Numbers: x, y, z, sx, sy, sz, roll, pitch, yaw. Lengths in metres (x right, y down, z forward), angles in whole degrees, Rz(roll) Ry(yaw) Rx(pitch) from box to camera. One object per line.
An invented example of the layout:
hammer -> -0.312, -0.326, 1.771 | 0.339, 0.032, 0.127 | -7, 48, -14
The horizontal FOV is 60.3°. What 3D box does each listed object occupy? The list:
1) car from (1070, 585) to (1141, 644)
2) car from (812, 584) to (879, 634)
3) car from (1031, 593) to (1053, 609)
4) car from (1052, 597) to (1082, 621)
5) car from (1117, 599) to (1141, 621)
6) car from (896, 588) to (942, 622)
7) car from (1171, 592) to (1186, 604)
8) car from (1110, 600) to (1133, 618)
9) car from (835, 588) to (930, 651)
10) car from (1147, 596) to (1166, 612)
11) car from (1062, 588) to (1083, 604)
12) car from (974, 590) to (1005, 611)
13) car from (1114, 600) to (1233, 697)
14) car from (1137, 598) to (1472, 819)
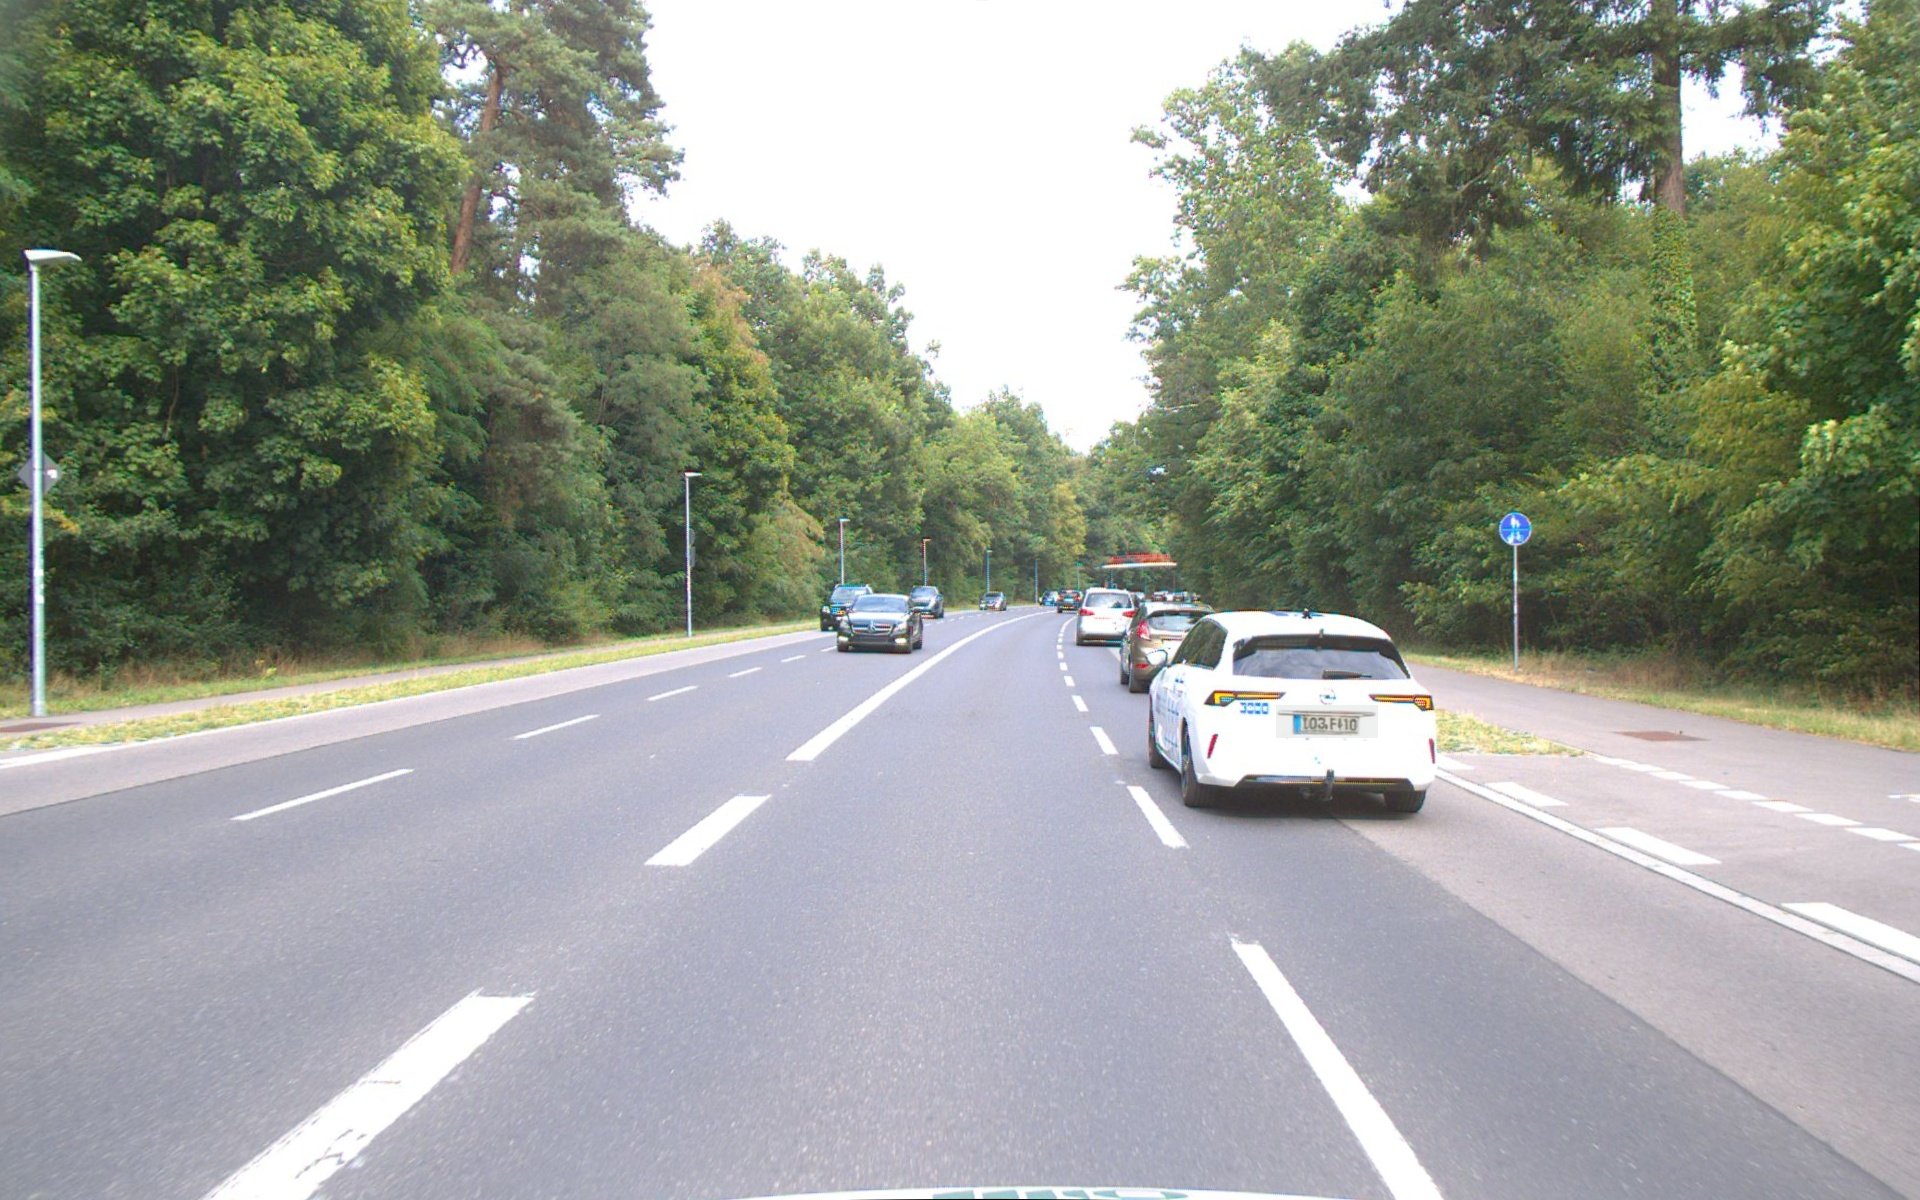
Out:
car -> 4.410, 0.457, 50.570 | 1.952, 1.635, 4.001 | 2, -1, 3
car -> -4.096, 0.352, 59.790 | 1.883, 1.684, 4.470 | 1, -1, 3
car -> 8.360, 0.079, 169.042 | 1.841, 1.468, 4.406 | 2, -1, 8
car -> 7.782, 0.635, 120.031 | 1.693, 1.615, 4.003 | 2, -1, 10
car -> 15.572, 0.929, 152.337 | 1.951, 1.814, 4.003 | 2, -1, 9
car -> -2.157, 0.293, 87.983 | 1.952, 1.645, 4.665 | 2, -1, 4
car -> 30.761, -0.263, 232.728 | 1.951, 1.736, 4.003 | 0, 0, 10
car -> 17.364, 0.957, 178.202 | 1.951, 1.814, 4.003 | 2, -1, 12
car -> -1.907, 0.505, 42.004 | 1.952, 1.460, 4.722 | 1, -1, 3
car -> 23.977, 0.446, 202.118 | 1.951, 1.814, 4.003 | 2, -1, 11
car -> 12.901, -0.433, 189.609 | 1.951, 1.590, 4.607 | 2, -1, 8
car -> 2.261, 0.060, 126.812 | 1.856, 1.509, 4.541 | 2, -1, 7
car -> 3.509, 0.789, 27.784 | 1.601, 1.445, 4.001 | 2, -1, 3
car -> 2.558, 0.726, 13.369 | 1.798, 1.434, 4.491 | 2, 0, 1
